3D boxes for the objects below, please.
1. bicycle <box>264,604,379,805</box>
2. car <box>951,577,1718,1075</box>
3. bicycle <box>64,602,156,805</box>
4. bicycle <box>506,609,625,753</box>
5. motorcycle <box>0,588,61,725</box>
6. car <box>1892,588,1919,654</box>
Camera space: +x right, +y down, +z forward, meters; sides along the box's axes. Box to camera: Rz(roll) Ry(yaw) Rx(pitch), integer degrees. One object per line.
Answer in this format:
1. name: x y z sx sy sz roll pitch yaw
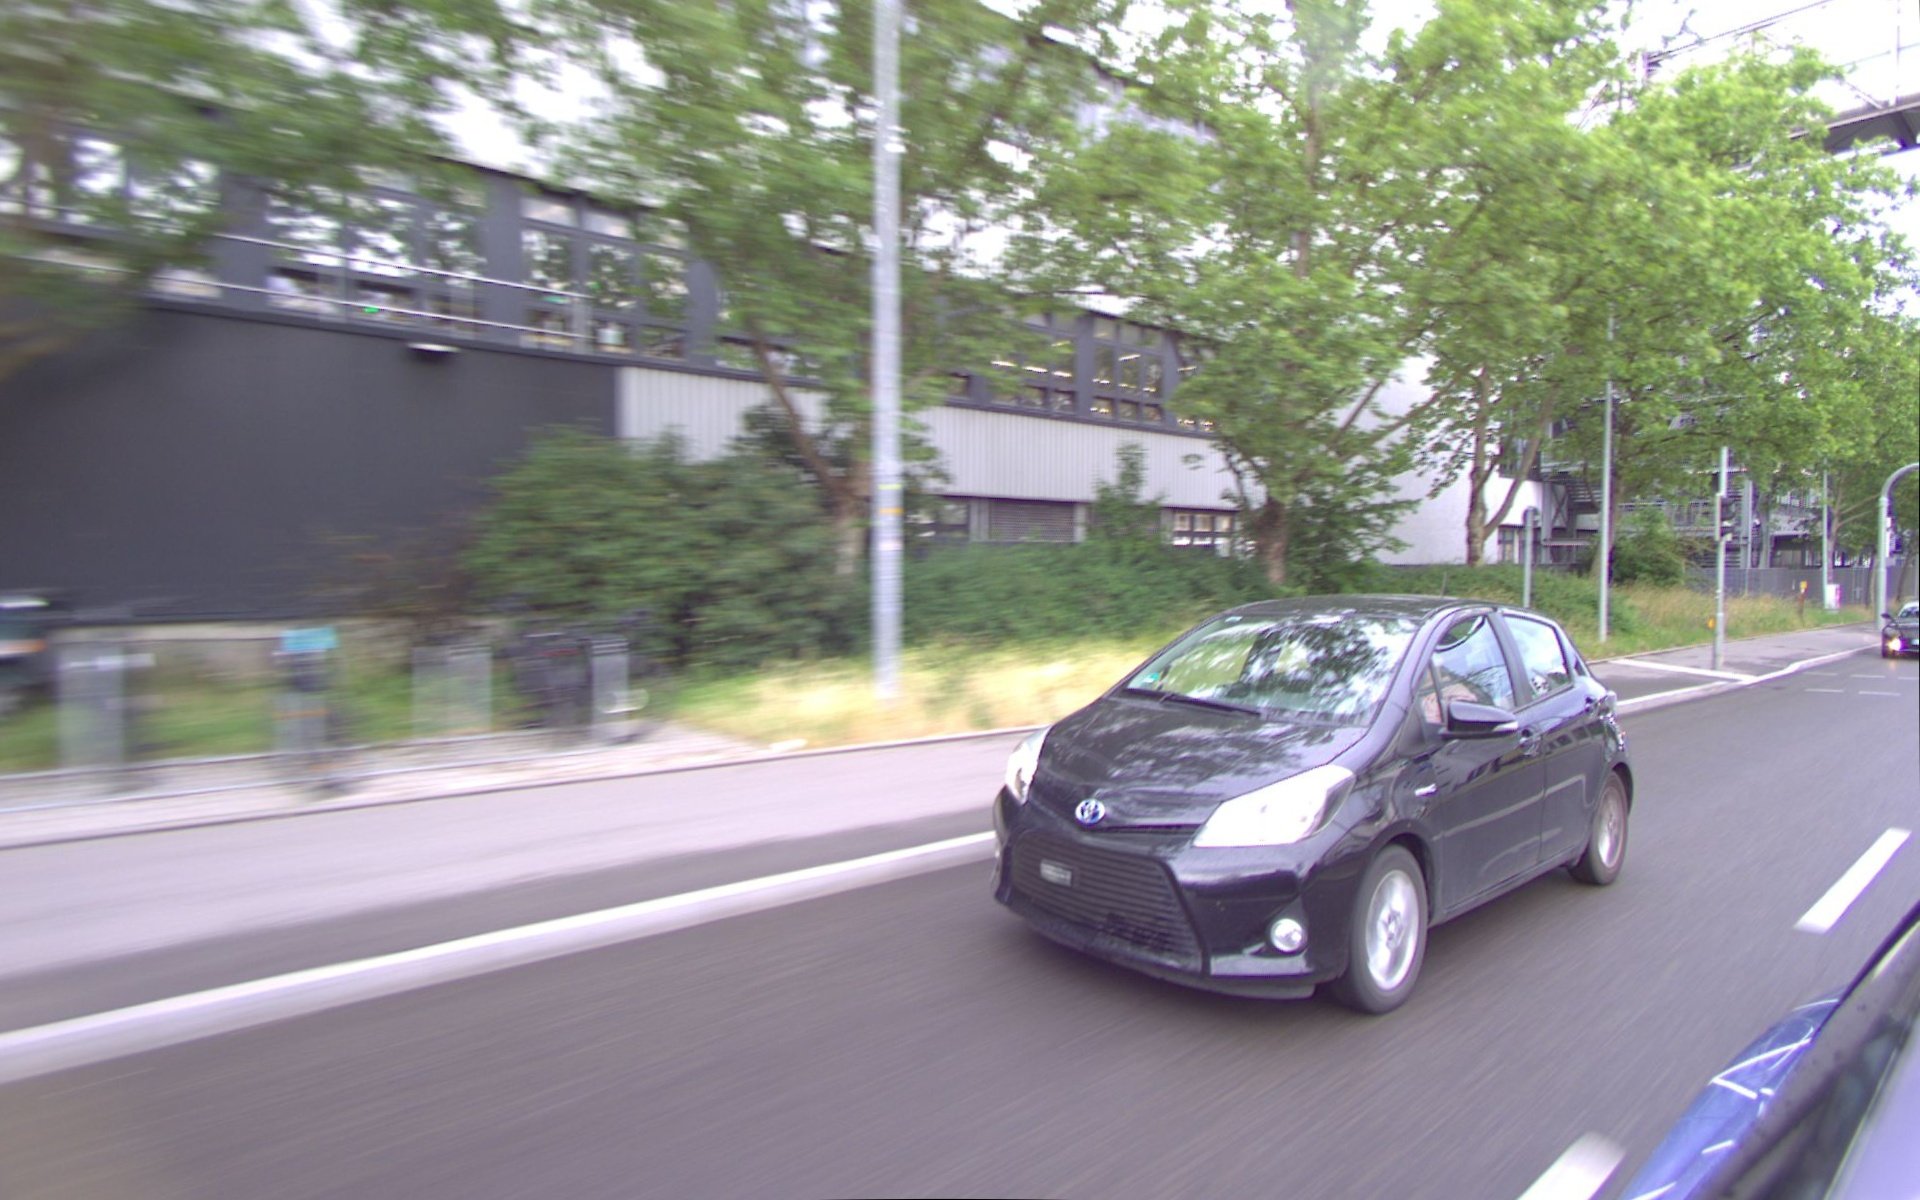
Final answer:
1. bicycle: -3.983 0.580 6.274 0.386 1.017 1.555 0 3 -40
2. car: 2.240 0.633 5.212 4.560 1.488 1.748 -1 2 -41
3. bicycle: -5.205 0.562 6.201 0.386 1.017 1.555 0 3 -40
4. bicycle: -3.178 0.594 8.072 0.380 0.951 1.611 0 3 -40
5. motorcycle: -8.075 0.444 8.634 0.567 1.014 1.611 0 3 -40
6. car: 23.945 0.475 24.349 4.439 1.448 1.748 -1 2 -41
